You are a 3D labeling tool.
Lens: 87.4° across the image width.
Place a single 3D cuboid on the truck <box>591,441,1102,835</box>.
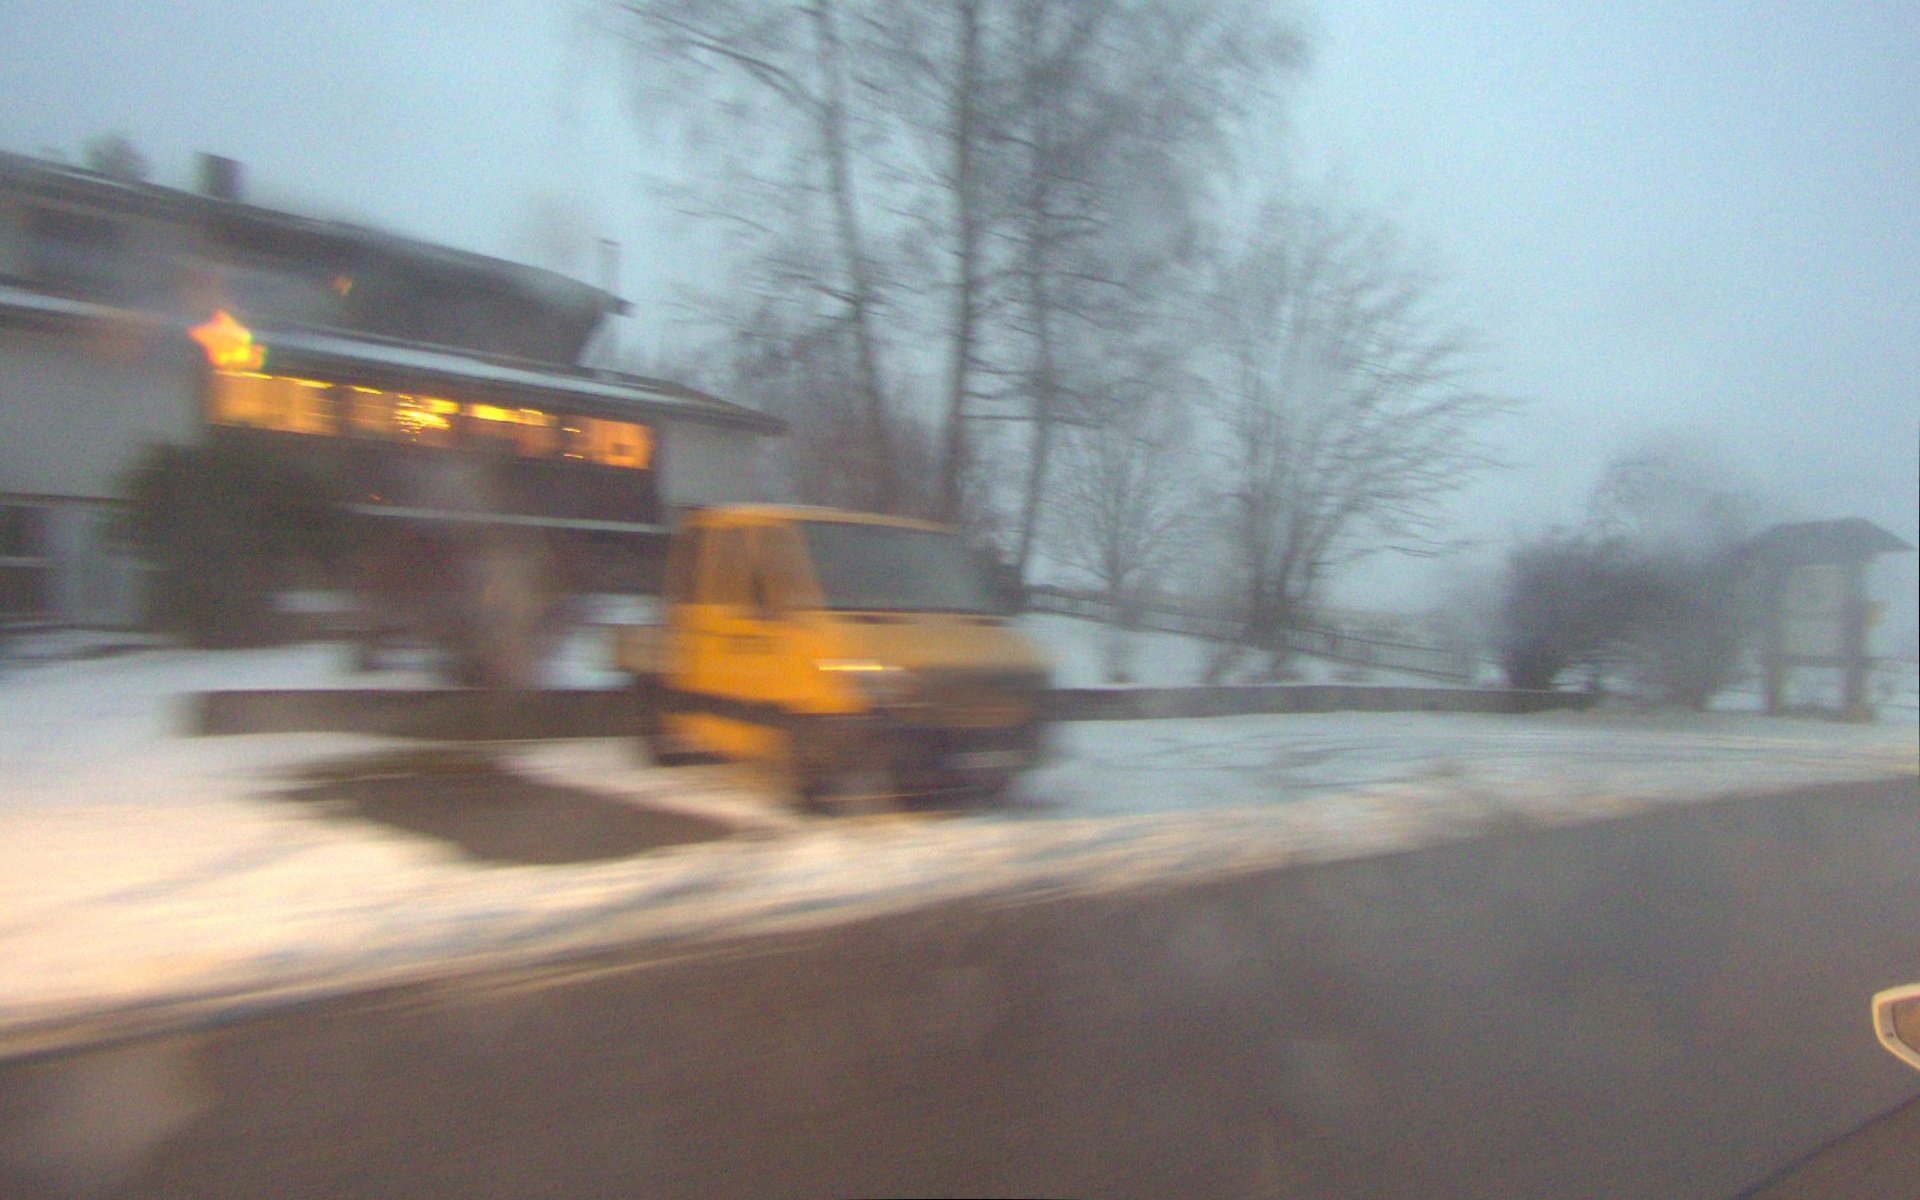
[{"bbox_3d":[-1.356,0.309,8.653,1.982,2.333,5.223,0,-2,-37],"label":"truck"}]
